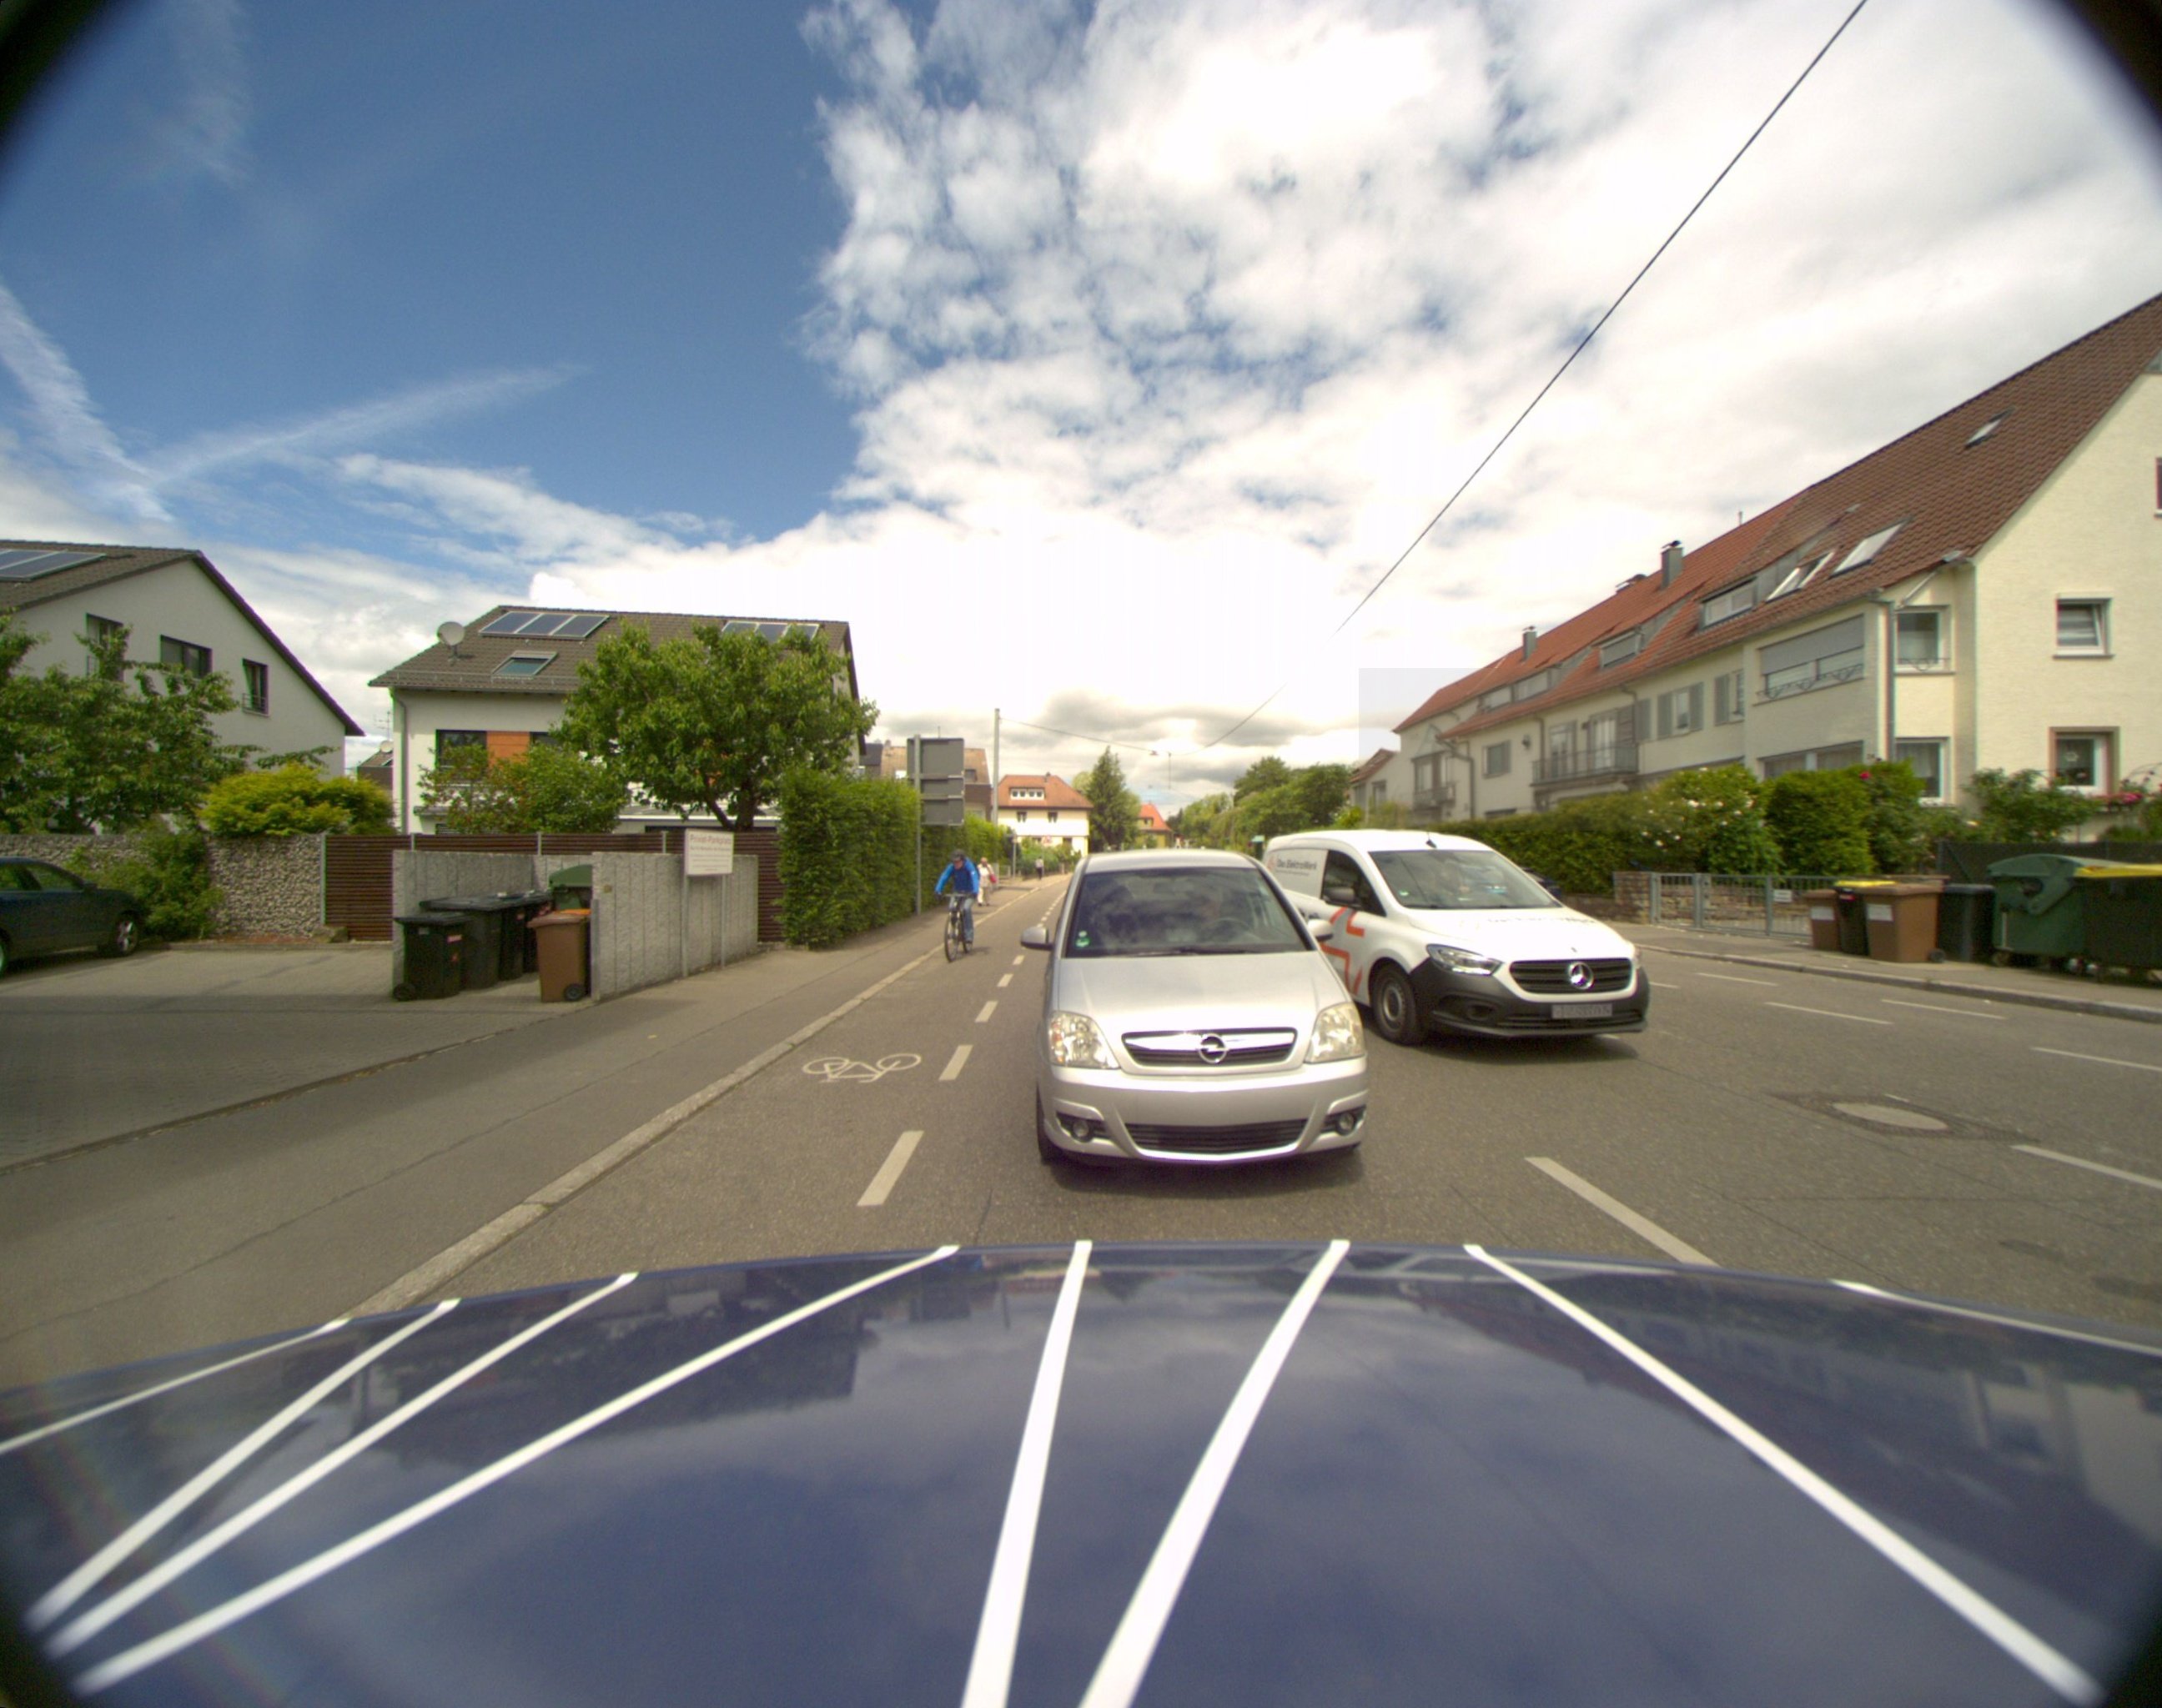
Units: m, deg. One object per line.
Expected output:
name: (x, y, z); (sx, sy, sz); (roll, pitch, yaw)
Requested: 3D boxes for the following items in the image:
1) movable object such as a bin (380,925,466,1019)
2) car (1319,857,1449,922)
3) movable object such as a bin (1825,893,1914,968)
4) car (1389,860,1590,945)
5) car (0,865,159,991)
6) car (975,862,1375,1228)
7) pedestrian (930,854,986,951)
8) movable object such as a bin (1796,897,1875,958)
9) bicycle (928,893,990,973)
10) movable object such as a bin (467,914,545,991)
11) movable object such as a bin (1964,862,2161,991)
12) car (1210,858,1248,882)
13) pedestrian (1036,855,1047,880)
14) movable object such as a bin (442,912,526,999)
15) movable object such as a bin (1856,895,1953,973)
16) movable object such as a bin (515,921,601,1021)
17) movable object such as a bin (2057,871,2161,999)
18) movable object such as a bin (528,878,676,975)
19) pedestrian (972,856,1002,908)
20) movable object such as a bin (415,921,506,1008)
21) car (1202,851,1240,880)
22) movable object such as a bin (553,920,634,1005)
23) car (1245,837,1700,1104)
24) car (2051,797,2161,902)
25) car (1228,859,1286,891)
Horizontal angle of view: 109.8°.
movable object such as a bin: (-7.077, 1.256, 8.191); (0.494, 0.907, 0.539); (-1, 1, -16)
car: (8.505, 0.928, 21.803); (1.998, 1.641, 4.517); (0, 0, 1)
movable object such as a bin: (11.368, 1.091, 10.968); (0.597, 1.018, 0.658); (0, 0, 1)
car: (8.733, 0.951, 16.807); (1.999, 1.578, 4.488); (0, 0, -1)
car: (-14.685, 0.940, 9.988); (1.790, 1.527, 3.789); (0, 0, -25)
car: (0.566, 0.876, 5.507); (1.707, 1.531, 4.332); (-2, 0, 4)
pedestrian: (-1.971, 0.756, 12.307); (0.736, 1.508, 0.872); (-1, 1, 1)
movable object such as a bin: (11.528, 1.113, 11.622); (0.597, 0.874, 0.614); (0, 0, 1)
bicycle: (-1.922, 1.217, 12.277); (0.536, 1.039, 2.409); (-1, 0, 2)
movable object such as a bin: (-7.421, 1.257, 9.823); (0.635, 0.887, 0.539); (-1, 1, -16)
movable object such as a bin: (12.196, 0.847, 9.422); (1.068, 1.473, 1.214); (0, 0, -1)
car: (9.465, 0.981, 48.827); (1.782, 1.409, 4.340); (0, 0, 3)
pedestrian: (-2.632, 0.907, 50.983); (0.604, 1.596, 0.836); (2, 1, 2)
movable object such as a bin: (-7.284, 1.220, 9.289); (0.629, 0.962, 0.539); (-1, 1, -16)
movable object such as a bin: (11.145, 1.068, 10.302); (0.597, 1.001, 0.658); (0, 0, 1)
movable object such as a bin: (-5.609, 1.233, 8.182); (0.534, 0.945, 0.686); (-1, 0, -13)
movable object such as a bin: (11.825, 0.855, 8.180); (1.067, 1.305, 1.214); (0, 0, 2)
movable object such as a bin: (-6.923, 1.014, 11.112); (1.192, 1.255, 1.535); (-1, 0, -2)
pedestrian: (-2.981, 0.882, 24.132); (0.800, 1.608, 0.653); (1, 1, 2)
movable object such as a bin: (-7.133, 1.255, 8.757); (0.635, 0.887, 0.539); (-1, 1, -16)
car: (9.904, 0.748, 54.129); (1.998, 1.884, 5.405); (2, 0, 4)
movable object such as a bin: (-5.714, 1.261, 8.942); (0.533, 0.887, 0.679); (-1, 0, -5)
car: (3.132, 0.768, 7.218); (1.781, 1.760, 4.186); (-1, 0, -7)
car: (19.439, -0.113, 12.759); (3.997, 1.696, 1.803); (-1, 0, 0)
car: (8.798, 1.007, 38.371); (1.782, 1.483, 4.565); (0, 0, -1)
